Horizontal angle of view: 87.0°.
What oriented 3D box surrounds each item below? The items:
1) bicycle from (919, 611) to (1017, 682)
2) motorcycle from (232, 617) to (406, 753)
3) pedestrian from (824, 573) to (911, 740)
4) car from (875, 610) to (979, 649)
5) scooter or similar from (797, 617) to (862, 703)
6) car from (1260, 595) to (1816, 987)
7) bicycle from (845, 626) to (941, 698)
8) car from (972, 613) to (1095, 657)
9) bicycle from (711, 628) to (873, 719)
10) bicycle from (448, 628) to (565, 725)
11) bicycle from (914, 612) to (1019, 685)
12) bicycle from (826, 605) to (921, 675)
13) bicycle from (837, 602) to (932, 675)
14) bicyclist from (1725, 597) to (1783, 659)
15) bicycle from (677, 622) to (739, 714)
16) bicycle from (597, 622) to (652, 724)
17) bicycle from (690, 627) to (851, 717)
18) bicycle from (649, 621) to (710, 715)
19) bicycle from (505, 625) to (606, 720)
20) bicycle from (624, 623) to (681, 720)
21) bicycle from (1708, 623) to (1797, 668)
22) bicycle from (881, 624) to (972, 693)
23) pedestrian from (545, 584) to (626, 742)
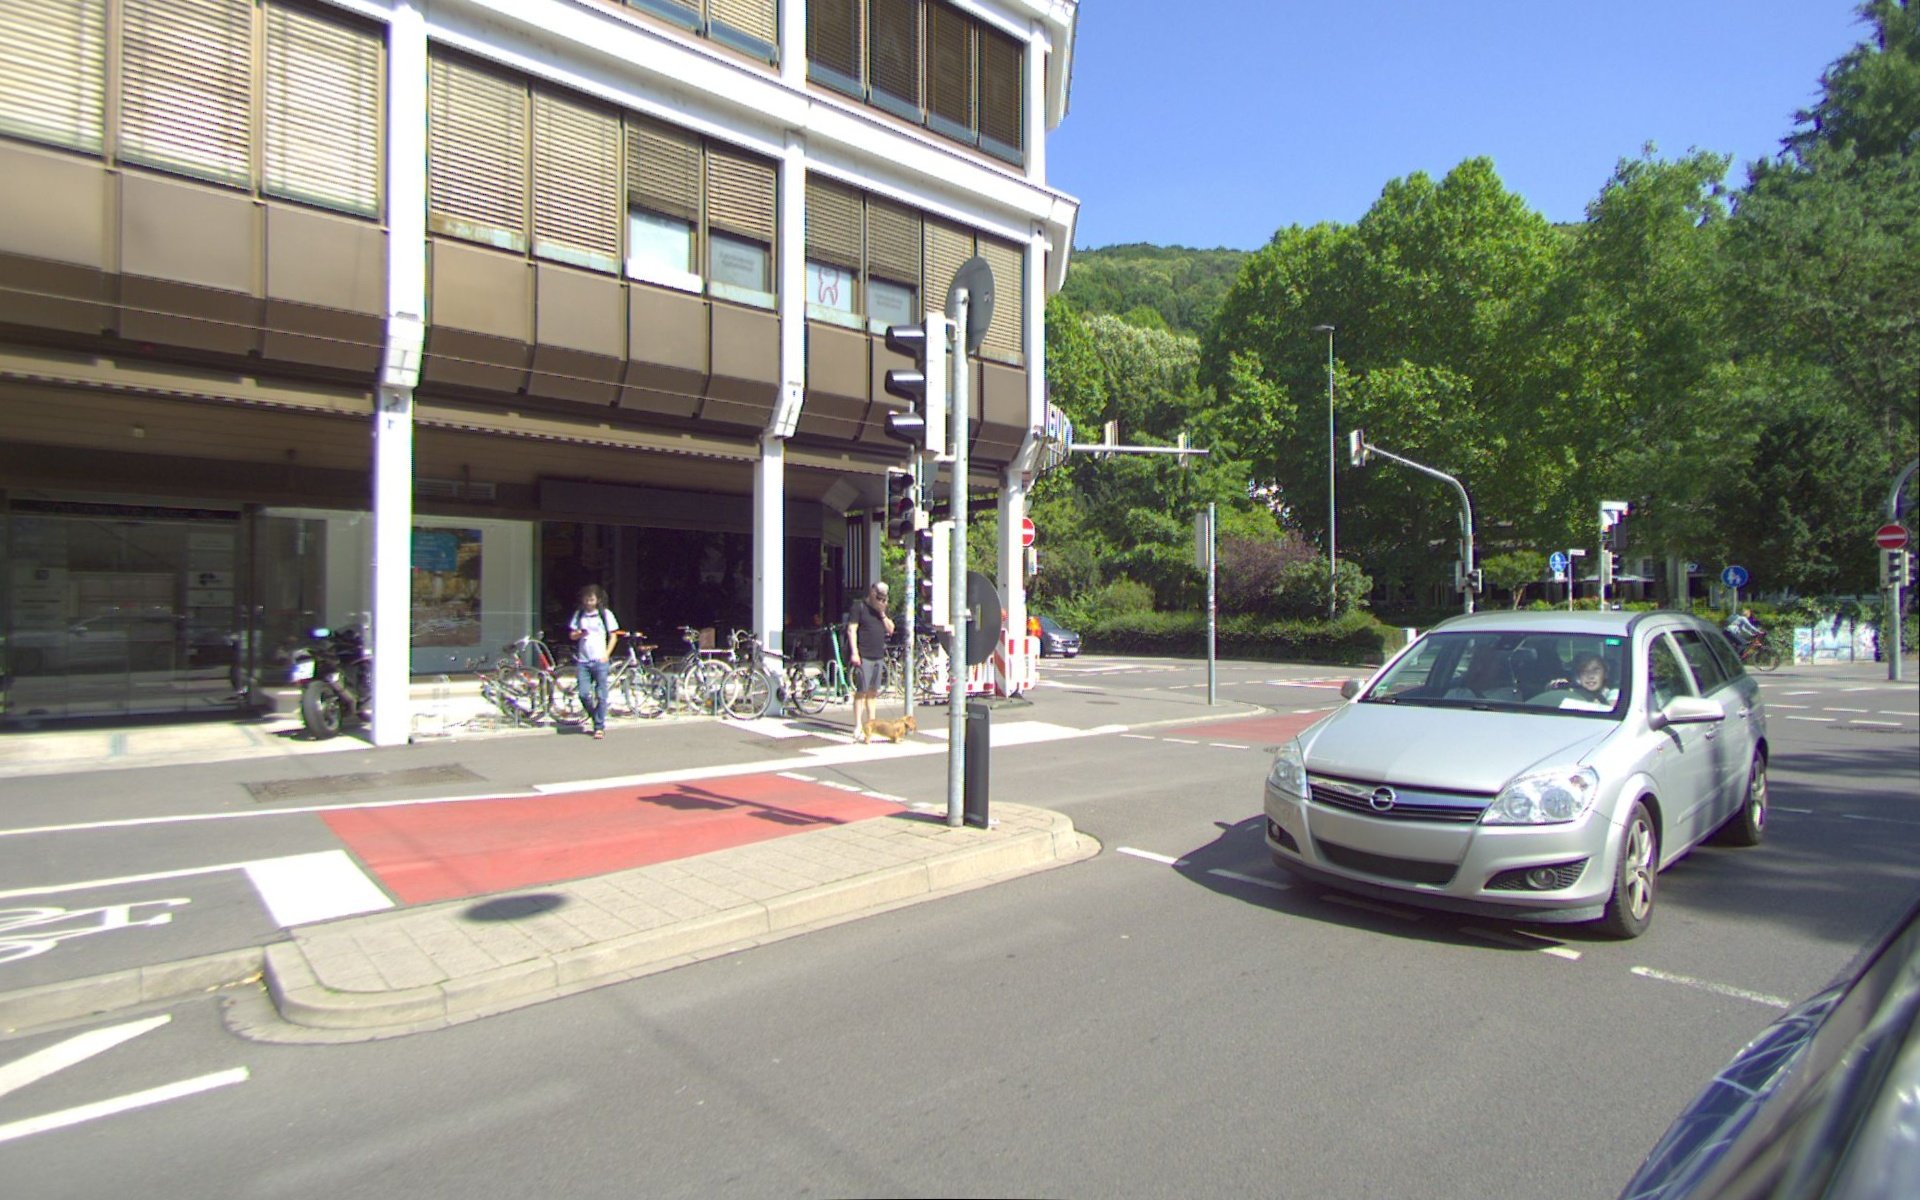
[{"bbox_3d":[0.163,0.896,19.798,1.830,1.333,0.529,1,-1,12],"label":"bicycle"},{"bbox_3d":[-7.112,0.875,11.392,0.929,1.307,2.247,-1,0,-12],"label":"motorcycle"},{"bbox_3d":[-1.088,0.632,11.878,0.683,1.859,0.836,-1,0,-32],"label":"pedestrian"},{"bbox_3d":[-1.300,1.103,38.447,1.826,1.381,4.090,2,-2,-41],"label":"car"},{"bbox_3d":[-1.992,0.878,15.377,0.471,1.248,1.250,0,-1,-34],"label":"scooter or similar"},{"bbox_3d":[3.723,0.780,6.116,4.332,1.542,1.709,1,-2,-43],"label":"car"},{"bbox_3d":[-1.043,0.961,15.824,1.446,1.079,0.376,1,0,7],"label":"bicycle"},{"bbox_3d":[2.432,1.156,34.271,1.826,1.381,4.091,2,-1,-40],"label":"car"},{"bbox_3d":[-2.211,0.947,13.554,2.199,1.135,0.278,1,-1,-33],"label":"bicycle"},{"bbox_3d":[-5.656,0.907,12.550,2.230,1.111,0.274,-1,-2,37],"label":"bicycle"},{"bbox_3d":[0.124,0.903,19.271,1.936,1.333,0.529,1,-1,12],"label":"bicycle"},{"bbox_3d":[-1.858,0.853,21.745,1.936,1.440,0.529,1,-1,12],"label":"bicycle"},{"bbox_3d":[-1.666,0.829,22.311,1.937,1.440,0.529,4,0,12],"label":"bicycle"},{"bbox_3d":[20.973,0.728,26.763,0.931,1.595,0.863,-1,0,18],"label":"bicyclist"},{"bbox_3d":[-3.483,0.895,13.894,0.272,1.134,1.723,1,0,-33],"label":"bicycle"},{"bbox_3d":[-4.287,0.895,12.880,0.272,1.222,1.551,1,-2,-33],"label":"bicycle"},{"bbox_3d":[-2.535,0.947,13.736,2.199,1.135,0.278,1,-1,-33],"label":"bicycle"},{"bbox_3d":[-3.803,0.881,13.673,0.272,1.134,1.723,1,0,-33],"label":"bicycle"},{"bbox_3d":[-5.218,0.886,12.975,2.235,1.135,0.273,-1,-2,43],"label":"bicycle"},{"bbox_3d":[-3.997,0.892,13.093,0.272,1.134,1.576,1,0,-33],"label":"bicycle"},{"bbox_3d":[20.959,1.196,26.793,1.655,1.135,0.779,-1,0,19],"label":"bicycle"},{"bbox_3d":[-0.549,0.946,16.411,1.442,1.079,0.309,1,0,-5],"label":"bicycle"},{"bbox_3d":[-4.234,0.675,11.433,0.683,1.684,0.836,-1,0,-32],"label":"pedestrian"}]
